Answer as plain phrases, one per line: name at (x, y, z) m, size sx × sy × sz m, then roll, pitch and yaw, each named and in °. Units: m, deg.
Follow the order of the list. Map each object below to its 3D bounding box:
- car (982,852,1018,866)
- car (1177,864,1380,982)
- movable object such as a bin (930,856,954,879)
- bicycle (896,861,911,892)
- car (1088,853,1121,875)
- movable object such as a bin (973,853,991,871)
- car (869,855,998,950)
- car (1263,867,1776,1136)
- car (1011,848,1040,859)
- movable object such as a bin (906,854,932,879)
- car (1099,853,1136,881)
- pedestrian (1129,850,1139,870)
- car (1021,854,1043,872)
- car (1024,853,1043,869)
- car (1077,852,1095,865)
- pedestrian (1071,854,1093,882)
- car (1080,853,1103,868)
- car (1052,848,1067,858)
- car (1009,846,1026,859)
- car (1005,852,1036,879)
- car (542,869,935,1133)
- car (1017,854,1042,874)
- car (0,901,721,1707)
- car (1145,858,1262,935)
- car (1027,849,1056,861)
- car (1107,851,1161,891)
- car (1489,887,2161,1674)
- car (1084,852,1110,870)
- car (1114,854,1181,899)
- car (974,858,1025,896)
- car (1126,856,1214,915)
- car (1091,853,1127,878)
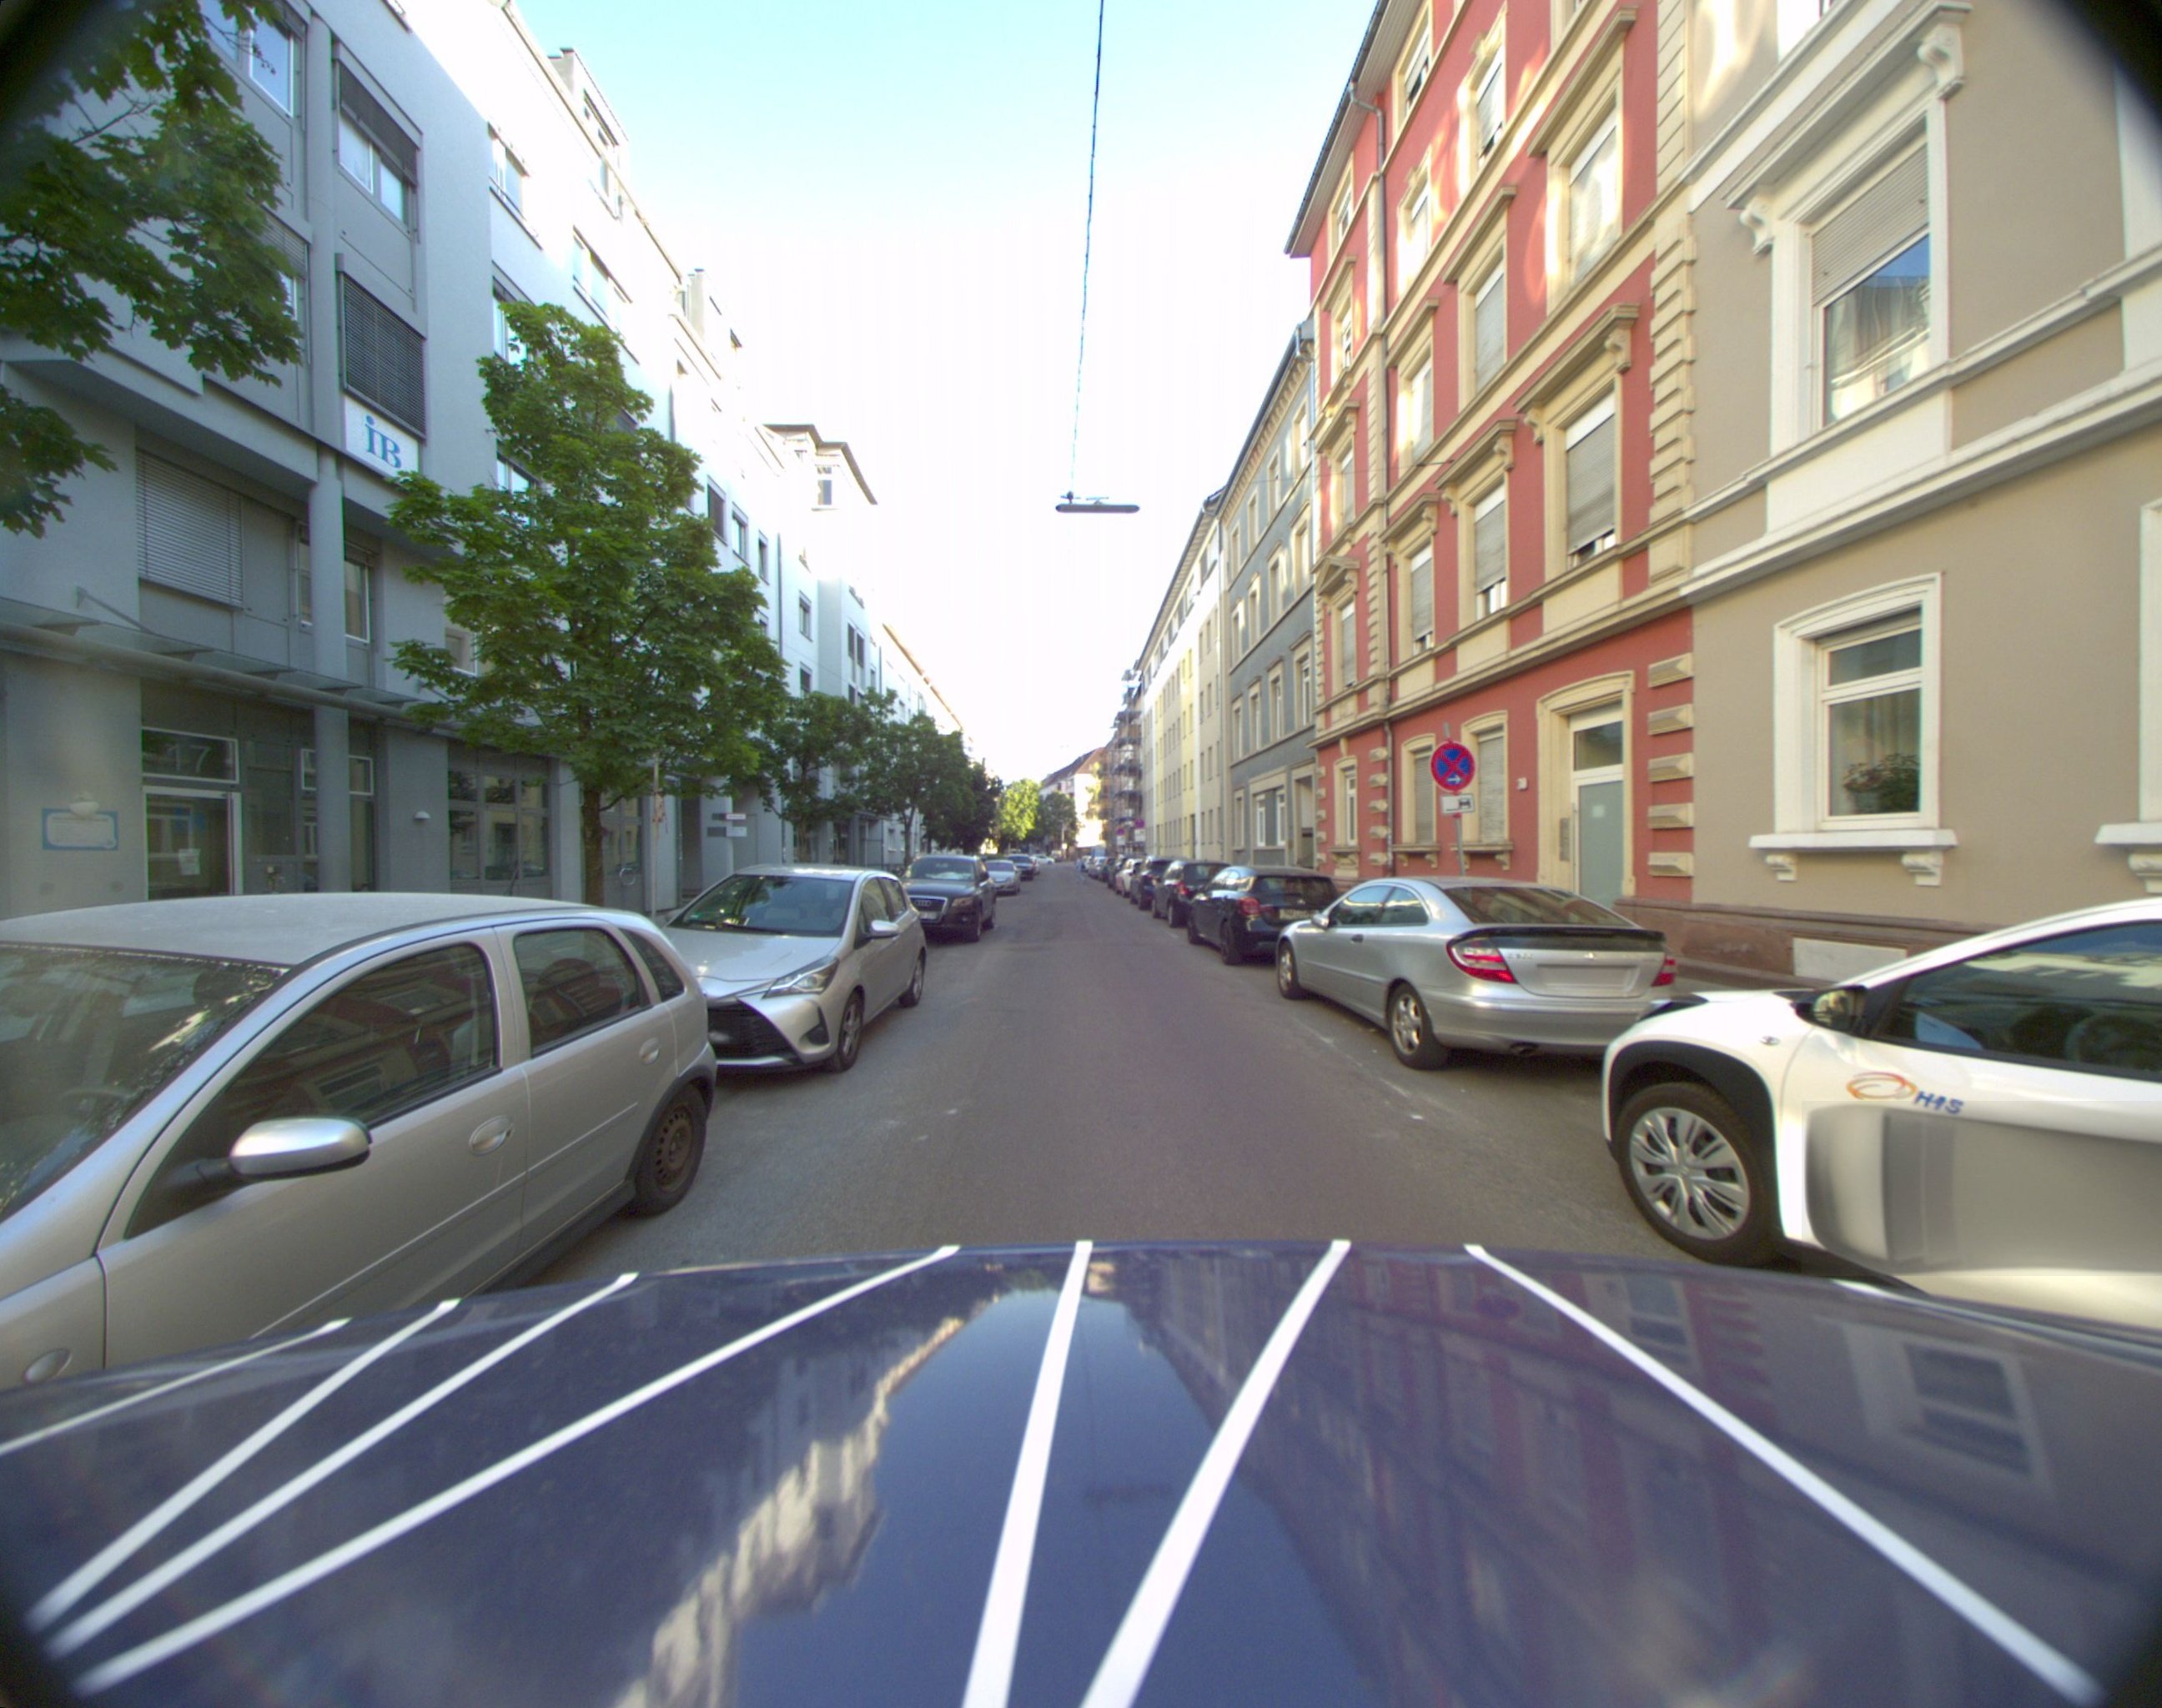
car at (-9.289, 0.526, 87.754) m, size 3.998 × 1.556 × 1.999 m, roll 1°, pitch 1°, yaw -4°
car at (2.880, 0.943, 12.137) m, size 1.926 × 1.475 × 4.266 m, roll 1°, pitch 0°, yaw -3°
movable object such as a bin at (-8.221, 0.787, 44.979) m, size 1.265 × 1.313 × 1.138 m, roll 0°, pitch 1°, yaw -2°
bicycle at (-7.051, 0.890, 30.223) m, size 0.522 × 1.161 × 1.738 m, roll 1°, pitch 1°, yaw -12°
car at (1.657, 0.685, 54.476) m, size 1.928 × 1.480 × 4.615 m, roll 1°, pitch 0°, yaw -3°
movable object such as a bin at (-7.767, 0.631, 59.438) m, size 1.288 × 1.428 × 1.223 m, roll 0°, pitch 1°, yaw -2°
car at (-2.833, 0.865, 15.578) m, size 1.890 × 1.613 × 4.433 m, roll 1°, pitch 0°, yaw -2°
car at (3.185, 0.939, 6.744) m, size 1.926 × 1.551 × 4.266 m, roll 1°, pitch 0°, yaw -3°
car at (-9.197, -0.082, 125.946) m, size 4.206 × 1.760 × 2.085 m, roll 1°, pitch 1°, yaw 29°
movable object such as a bin at (-9.520, 0.728, 44.688) m, size 1.265 × 1.428 × 1.138 m, roll 0°, pitch 1°, yaw -2°
car at (2.048, 0.723, 44.261) m, size 1.784 × 1.480 × 4.419 m, roll 1°, pitch 0°, yaw -2°
pedestrian at (4.548, 0.520, 65.254) m, size 0.791 × 1.750 × 1.092 m, roll 1°, pitch 1°, yaw -2°
car at (-4.149, 0.748, 64.269) m, size 1.681 × 1.411 × 4.135 m, roll 1°, pitch 0°, yaw -2°
car at (-4.395, 0.661, 70.452) m, size 1.681 × 1.411 × 4.134 m, roll 1°, pitch 0°, yaw -2°
car at (0.632, 0.538, 95.051) m, size 1.999 × 1.462 × 3.998 m, roll 1°, pitch 0°, yaw -3°
pedestrian at (0.067, 0.753, 40.688) m, size 0.868 × 1.455 × 0.804 m, roll 1°, pitch 1°, yaw 32°
car at (1.065, 0.638, 79.059) m, size 1.999 × 1.423 × 3.998 m, roll 1°, pitch 0°, yaw -3°
car at (-3.793, -0.145, 131.641) m, size 2.081 × 1.760 × 4.214 m, roll 1°, pitch 0°, yaw -8°
car at (-11.722, -0.302, 140.148) m, size 2.163 × 2.270 × 6.199 m, roll 1°, pitch 0°, yaw -15°
car at (-3.813, 0.704, 48.720) m, size 1.876 × 1.626 × 4.720 m, roll 1°, pitch 0°, yaw -3°
car at (-2.505, 0.951, 6.692) m, size 1.681 × 1.516 × 3.970 m, roll 1°, pitch 0°, yaw 0°
car at (-3.989, 0.773, 59.323) m, size 1.680 × 1.474 × 3.652 m, roll 1°, pitch 0°, yaw 1°
car at (-2.649, 0.989, 1.876) m, size 1.680 × 1.467 × 3.729 m, roll 1°, pitch 0°, yaw 1°
car at (2.752, 0.907, 18.110) m, size 1.906 × 1.551 × 4.239 m, roll 1°, pitch 0°, yaw -3°
car at (-6.012, 0.097, 115.025) m, size 4.214 × 1.760 × 2.081 m, roll 1°, pitch 1°, yaw 1°
car at (2.308, 0.706, 34.204) m, size 1.926 × 1.654 × 4.468 m, roll 1°, pitch 0°, yaw -3°
car at (3.175, 0.942, 1.942) m, size 1.925 × 1.498 × 4.267 m, roll 1°, pitch 0°, yaw 0°
car at (1.394, 0.614, 68.922) m, size 1.999 × 1.496 × 3.998 m, roll 1°, pitch 0°, yaw -3°
car at (2.436, 0.799, 28.826) m, size 1.926 × 1.551 × 4.266 m, roll 1°, pitch 0°, yaw -3°
car at (-3.374, 0.910, 32.049) m, size 1.768 × 1.421 × 4.343 m, roll 1°, pitch 0°, yaw -2°
car at (2.564, 0.871, 22.926) m, size 1.926 × 1.551 × 4.266 m, roll 1°, pitch 0°, yaw -3°
car at (1.754, 0.725, 49.110) m, size 1.928 × 1.480 × 4.616 m, roll 1°, pitch 0°, yaw -2°
